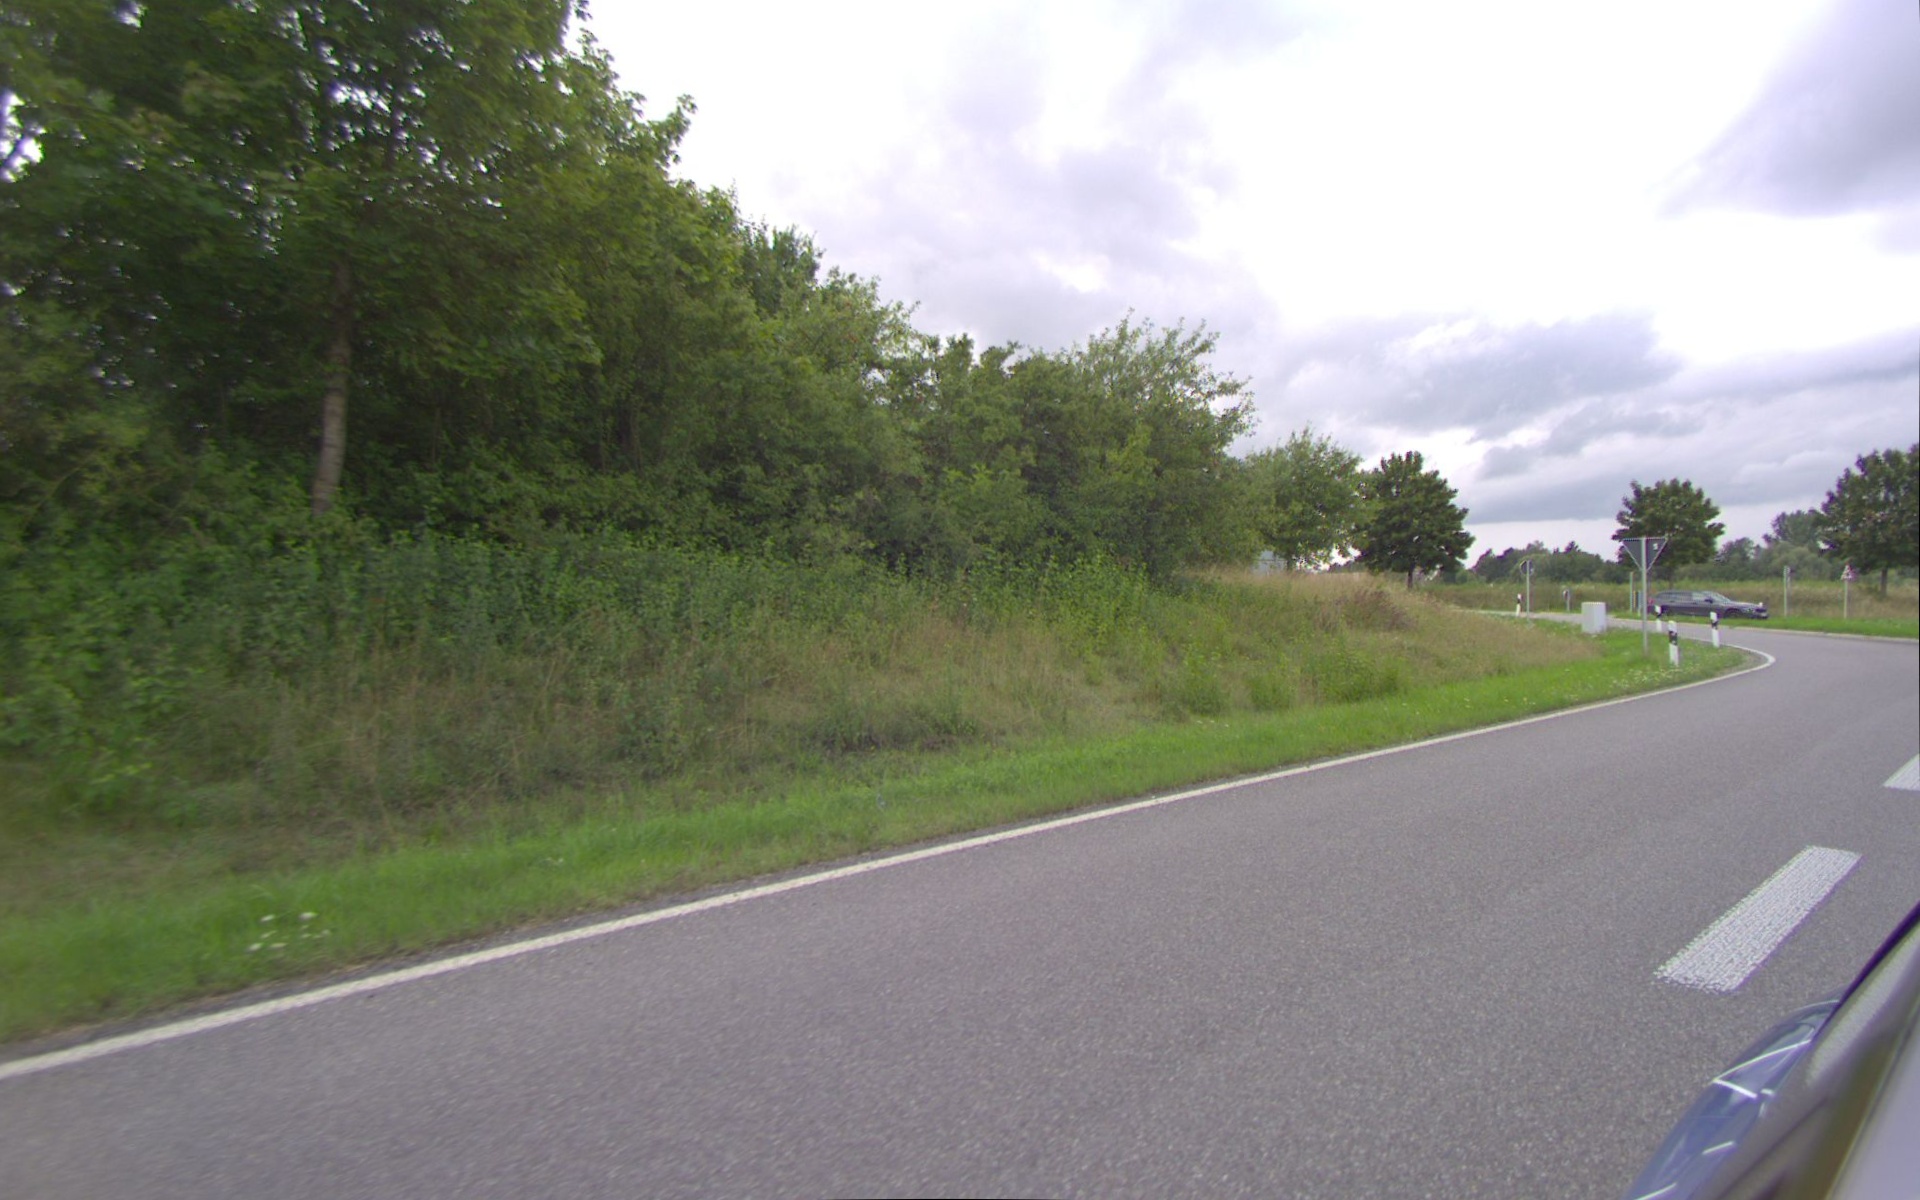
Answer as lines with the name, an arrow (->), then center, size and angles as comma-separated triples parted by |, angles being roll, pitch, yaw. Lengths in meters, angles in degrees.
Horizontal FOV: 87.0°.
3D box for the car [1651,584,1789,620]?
car -> 34.886, 0.039, 46.571 | 1.960, 1.522, 4.672 | 0, 1, -31
